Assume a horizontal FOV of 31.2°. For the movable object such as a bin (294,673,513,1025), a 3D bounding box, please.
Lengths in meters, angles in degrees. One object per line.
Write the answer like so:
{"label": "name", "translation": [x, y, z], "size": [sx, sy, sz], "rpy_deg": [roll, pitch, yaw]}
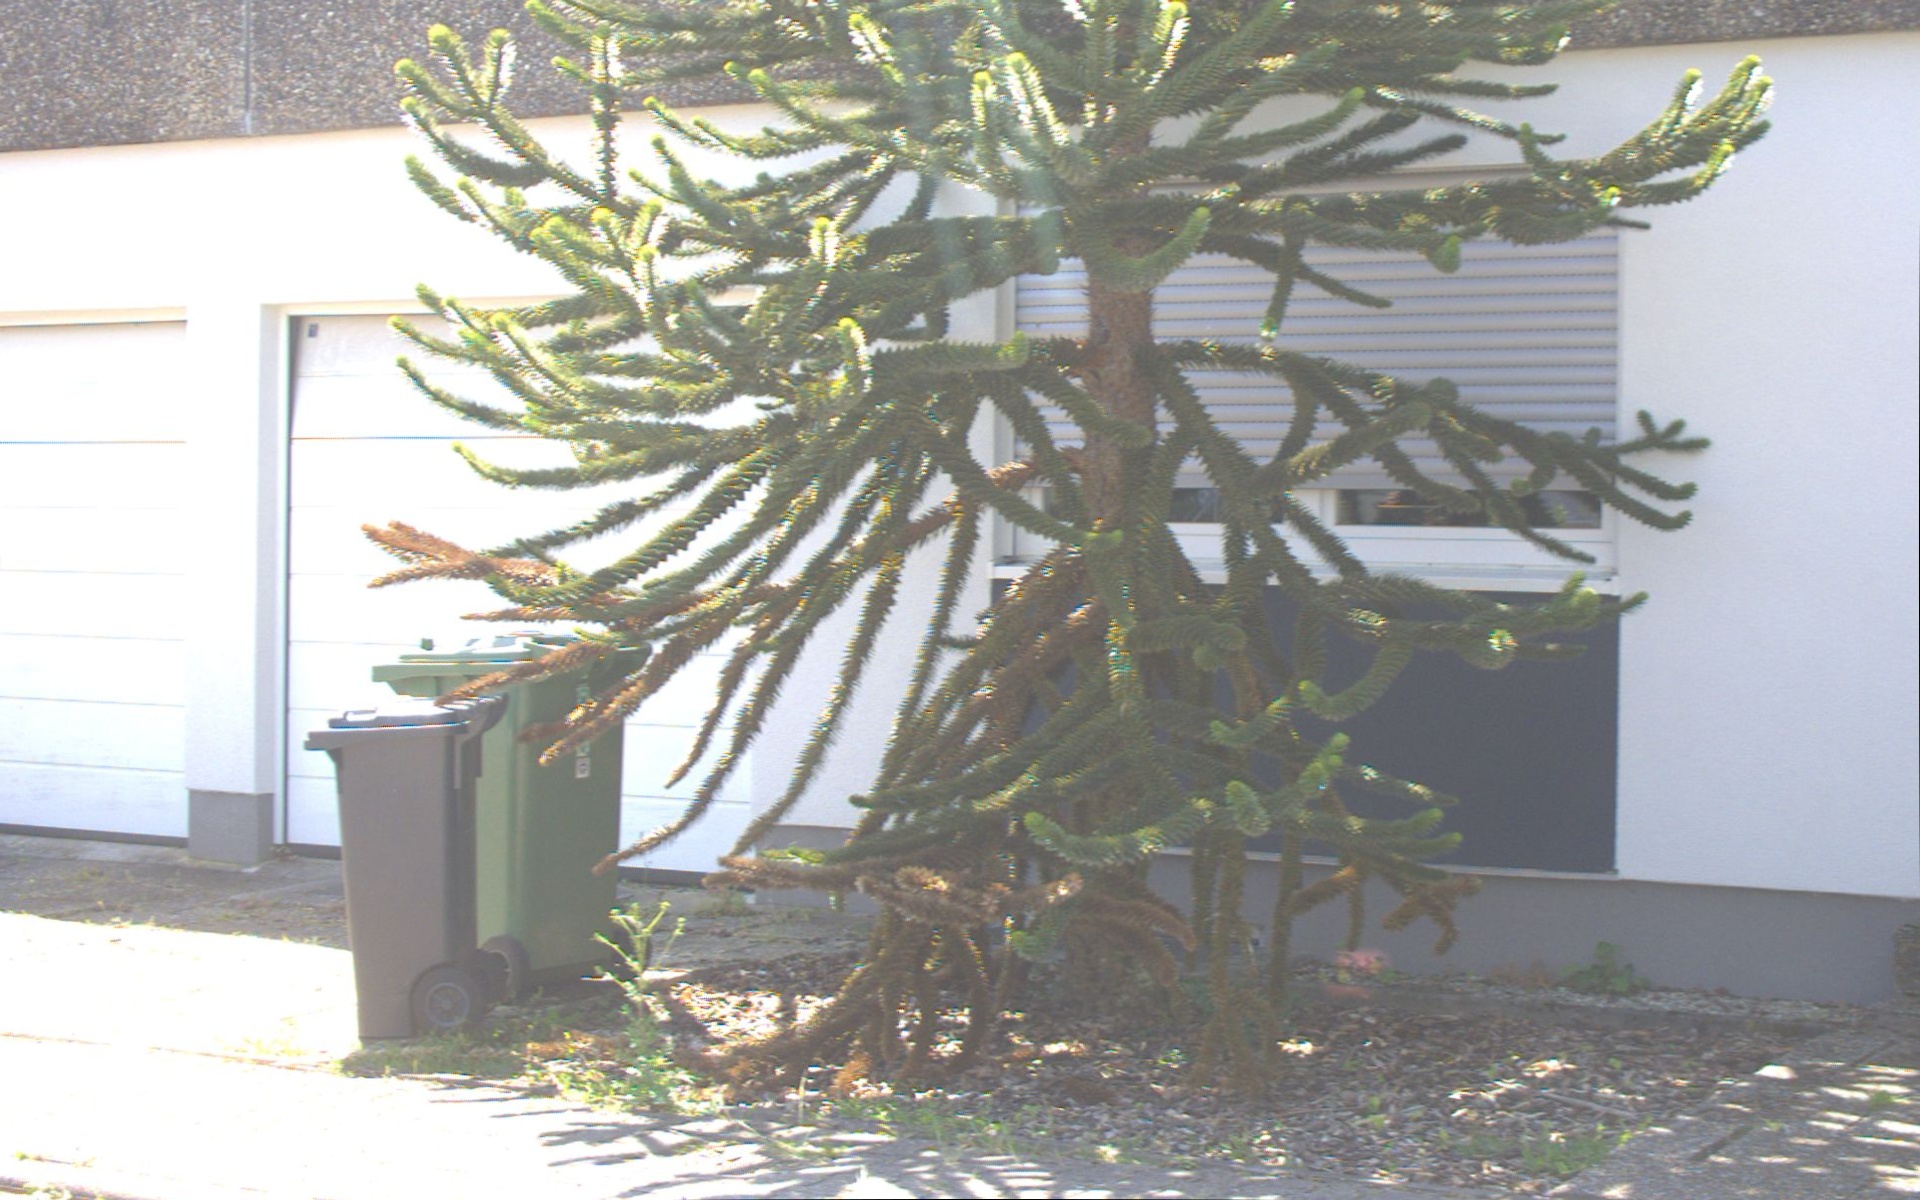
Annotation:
{"label": "movable object such as a bin", "translation": [-1.564, 0.692, 9.694], "size": [0.522, 0.946, 0.389], "rpy_deg": [1, 1, 4]}

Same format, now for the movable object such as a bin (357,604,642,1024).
{"label": "movable object such as a bin", "translation": [-1.388, 0.623, 10.384], "size": [0.633, 1.199, 0.550], "rpy_deg": [2, 1, 31]}
